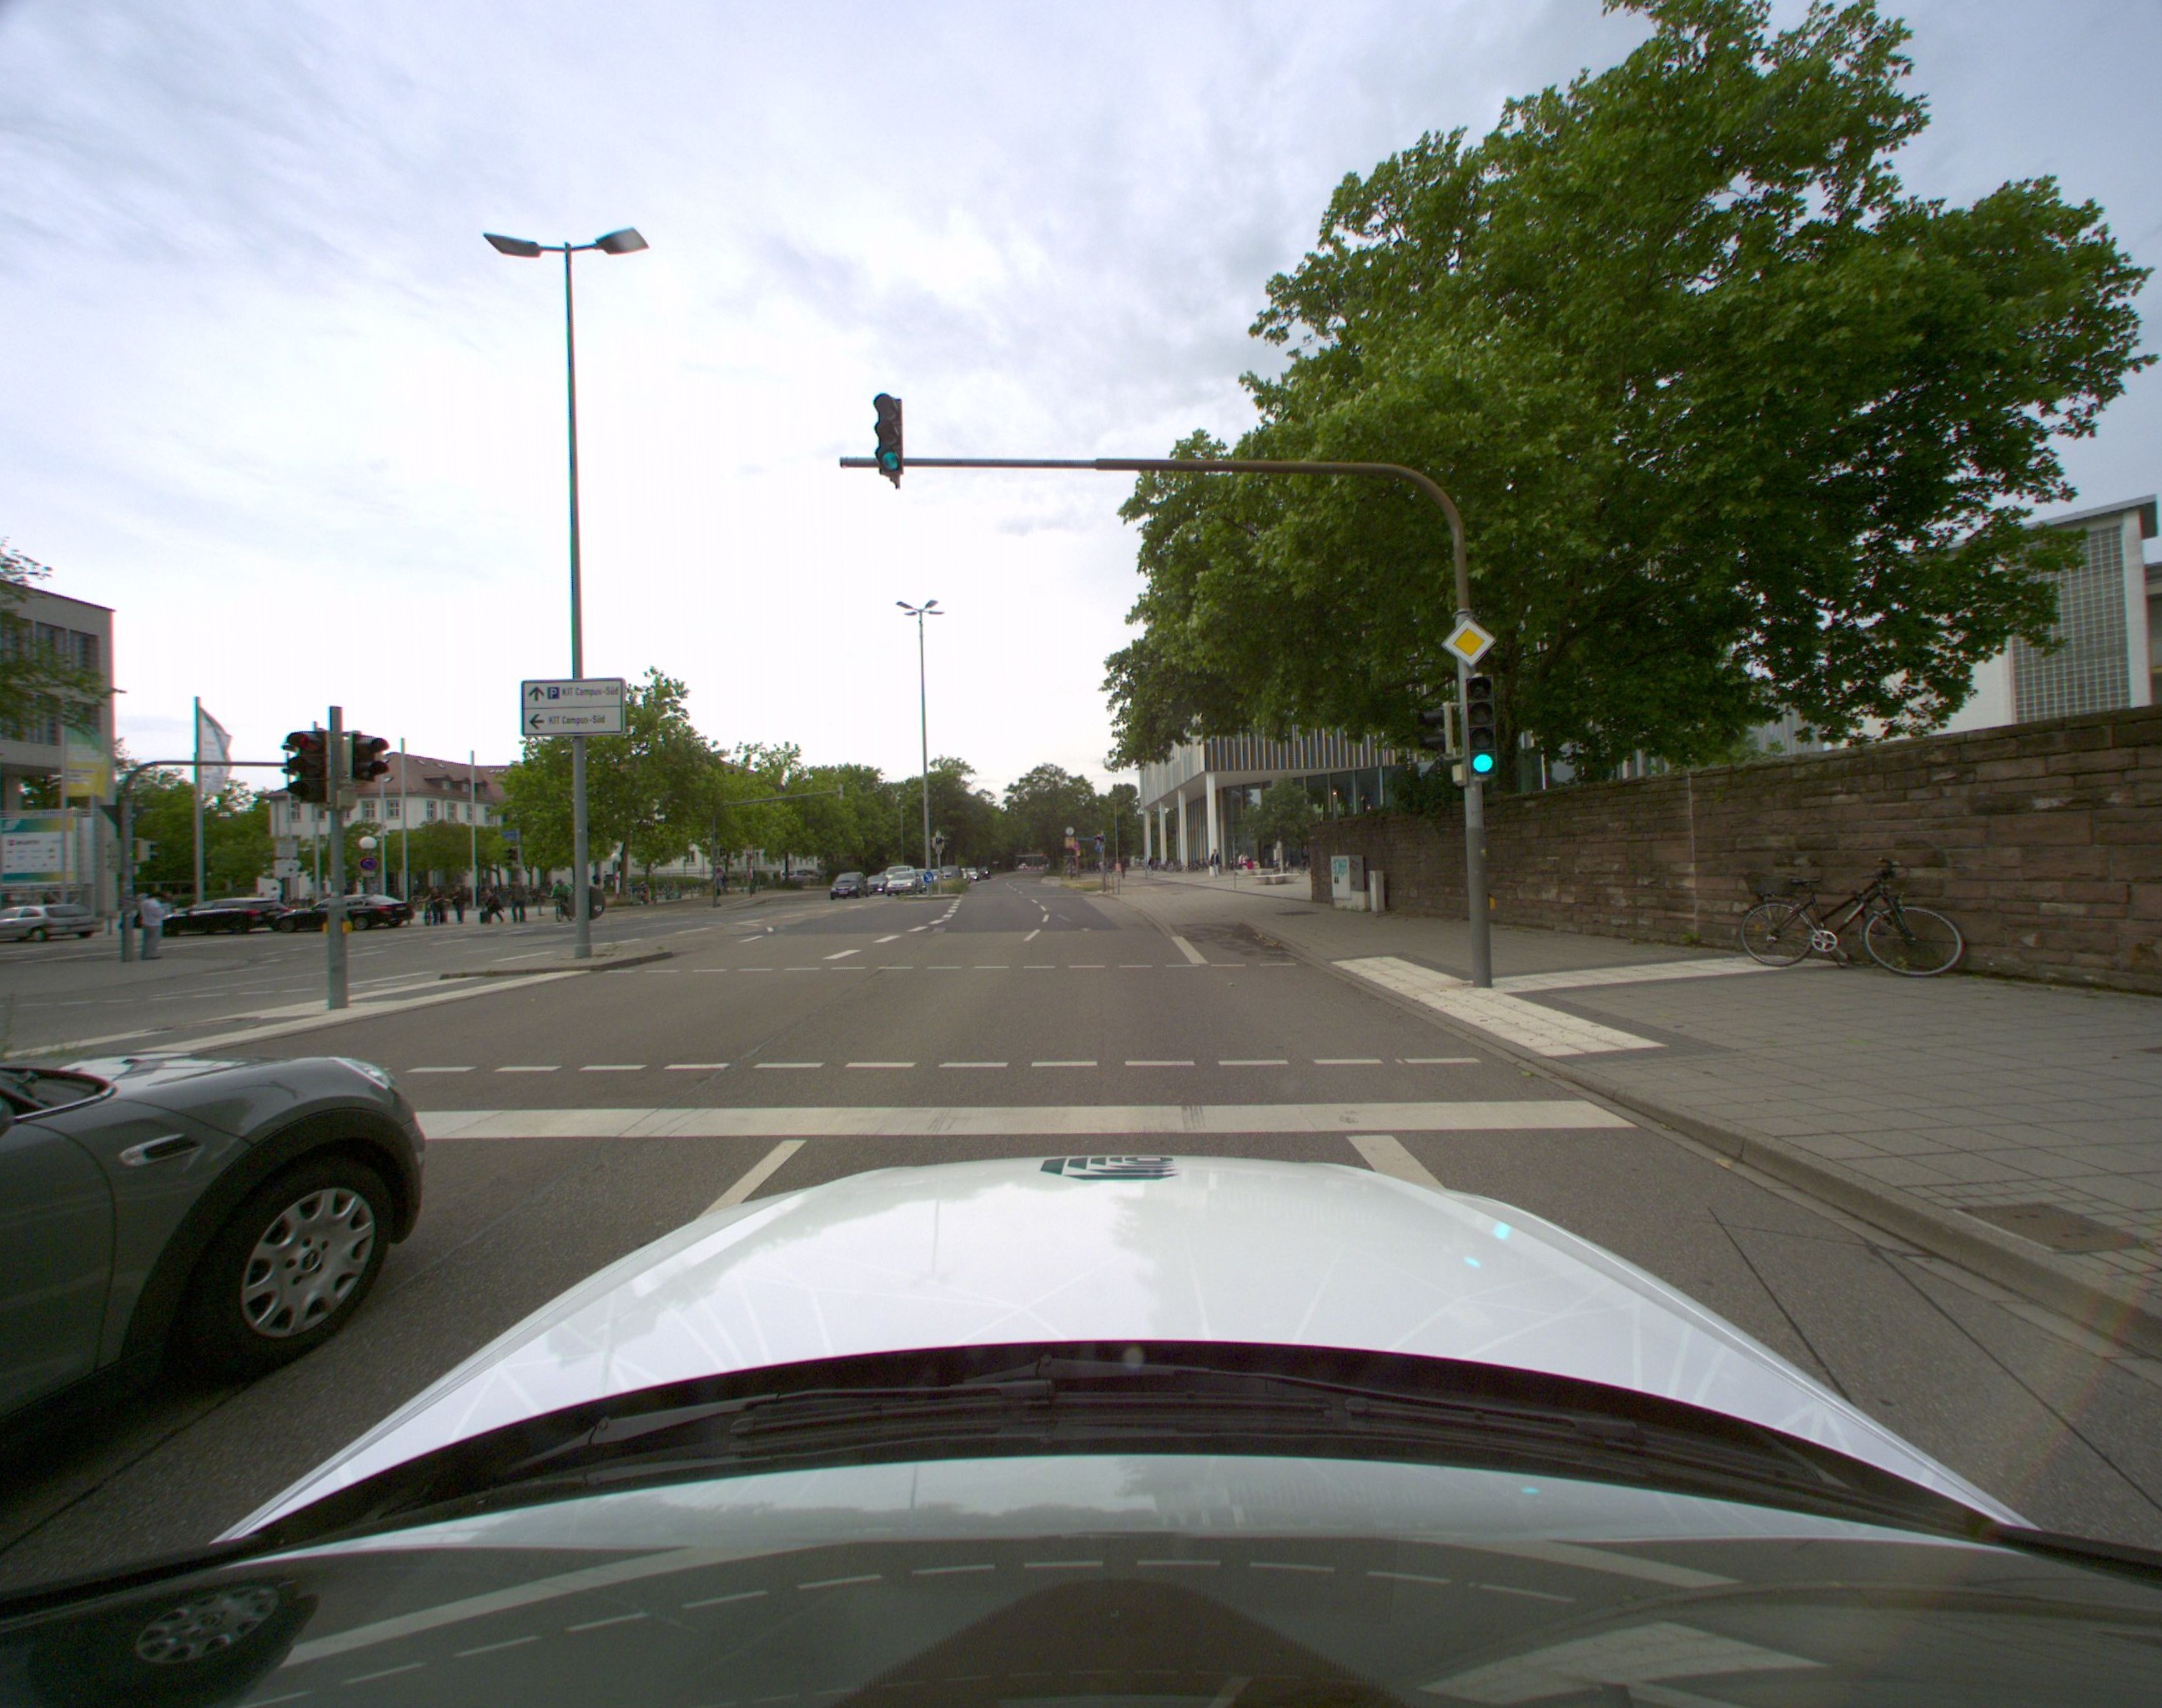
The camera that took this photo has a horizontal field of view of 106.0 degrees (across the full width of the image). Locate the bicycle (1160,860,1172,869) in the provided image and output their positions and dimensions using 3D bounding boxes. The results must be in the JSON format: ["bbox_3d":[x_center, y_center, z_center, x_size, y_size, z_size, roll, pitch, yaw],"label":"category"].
[{"bbox_3d":[9.372,1.176,89.990,1.280,0.875,0.556,-3,-1,-2],"label":"bicycle"}]

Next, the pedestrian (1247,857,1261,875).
[{"bbox_3d":[11.615,0.795,54.627,0.885,1.193,0.848,-2,-1,12],"label":"pedestrian"}]

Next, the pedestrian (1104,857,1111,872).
[{"bbox_3d":[3.762,1.522,114.636,0.822,2.014,0.719,-3,-1,-3],"label":"pedestrian"}]

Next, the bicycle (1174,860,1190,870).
[{"bbox_3d":[10.183,1.108,82.160,1.597,0.936,0.570,-5,0,8],"label":"bicycle"}]

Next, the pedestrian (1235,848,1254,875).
[{"bbox_3d":[11.713,0.534,58.336,0.848,1.836,0.885,-2,-1,-32],"label":"pedestrian"}]

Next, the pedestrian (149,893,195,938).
[{"bbox_3d":[-43.013,2.880,38.547,1.000,2.014,1.016,-2,-1,-3],"label":"pedestrian"}]

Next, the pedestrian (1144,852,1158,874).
[{"bbox_3d":[6.499,0.846,76.042,0.883,2.014,0.850,-3,-1,43],"label":"pedestrian"}]

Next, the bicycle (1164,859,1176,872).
[{"bbox_3d":[8.650,1.124,79.415,0.635,1.140,2.196,-5,-1,-6],"label":"bicycle"}]

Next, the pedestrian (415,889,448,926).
[{"bbox_3d":[-27.481,2.249,34.451,0.825,1.513,0.968,0,-1,-22],"label":"pedestrian"}]

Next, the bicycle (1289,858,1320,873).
[{"bbox_3d":[15.554,0.800,56.610,2.200,1.006,0.774,-2,-1,-32],"label":"bicycle"}]

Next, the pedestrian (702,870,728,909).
[{"bbox_3d":[-19.589,1.862,43.574,0.892,2.014,1.008,-2,-1,-4],"label":"pedestrian"}]

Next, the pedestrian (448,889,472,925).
[{"bbox_3d":[-26.427,2.245,34.667,0.702,1.428,0.991,0,-1,-30],"label":"pedestrian"}]

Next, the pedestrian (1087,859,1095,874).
[{"bbox_3d":[1.421,1.798,114.021,0.924,2.014,1.037,-2,-1,-7],"label":"pedestrian"}]

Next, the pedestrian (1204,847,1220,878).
[{"bbox_3d":[8.848,0.592,54.967,0.840,2.014,0.894,-2,-1,-1],"label":"pedestrian"}]

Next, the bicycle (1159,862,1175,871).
[{"bbox_3d":[9.177,1.370,87.079,1.602,0.875,0.556,-3,-1,-2],"label":"bicycle"}]

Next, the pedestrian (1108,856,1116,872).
[{"bbox_3d":[4.023,1.308,105.428,0.924,2.014,1.038,-2,-1,-4],"label":"pedestrian"}]

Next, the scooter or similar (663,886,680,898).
[{"bbox_3d":[-25.517,2.393,50.784,0.405,0.693,1.289,0,-1,1],"label":"scooter or similar"}]

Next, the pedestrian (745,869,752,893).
[{"bbox_3d":[-24.278,2.000,59.500,0.419,1.739,0.433,0,-1,-9],"label":"pedestrian"}]

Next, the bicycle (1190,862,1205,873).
[{"bbox_3d":[10.676,1.230,74.752,1.496,0.929,0.435,-3,1,-41],"label":"bicycle"}]

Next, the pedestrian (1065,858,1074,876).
[{"bbox_3d":[-1.311,1.507,94.957,0.910,2.013,0.853,-4,1,-3],"label":"pedestrian"}]

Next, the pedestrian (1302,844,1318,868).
[{"bbox_3d":[19.584,0.156,69.681,1.171,2.062,1.141,-1,-1,22],"label":"pedestrian"}]

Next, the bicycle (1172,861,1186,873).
[{"bbox_3d":[9.235,1.193,76.685,0.608,1.080,1.953,-4,0,-13],"label":"bicycle"}]

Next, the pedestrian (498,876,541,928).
[{"bbox_3d":[-22.769,1.923,33.037,1.185,2.014,1.133,0,-1,-22],"label":"pedestrian"}]

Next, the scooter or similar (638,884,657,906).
[{"bbox_3d":[-23.847,2.266,44.835,0.359,1.140,1.318,-3,-1,-2],"label":"scooter or similar"}]

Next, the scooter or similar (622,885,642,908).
[{"bbox_3d":[-23.820,2.250,43.215,0.359,1.140,1.318,-3,-1,-2],"label":"scooter or similar"}]

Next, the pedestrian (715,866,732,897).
[{"bbox_3d":[-23.700,1.827,53.936,0.801,2.014,0.923,0,-1,-9],"label":"pedestrian"}]

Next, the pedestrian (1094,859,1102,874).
[{"bbox_3d":[2.373,1.751,114.000,0.823,2.014,0.718,-2,-1,-7],"label":"pedestrian"}]

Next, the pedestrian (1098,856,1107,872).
[{"bbox_3d":[2.806,1.349,105.326,0.924,2.014,1.037,-2,-1,-7],"label":"pedestrian"}]

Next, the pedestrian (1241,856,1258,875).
[{"bbox_3d":[11.185,0.732,54.011,0.834,1.206,0.900,-3,-1,32],"label":"pedestrian"}]

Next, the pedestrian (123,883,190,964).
[{"bbox_3d":[-25.108,1.867,22.133,0.664,2.058,0.852,-3,1,-2],"label":"pedestrian"}]

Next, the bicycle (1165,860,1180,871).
[{"bbox_3d":[9.333,1.177,83.035,1.396,1.043,0.558,-4,-1,-2],"label":"bicycle"}]

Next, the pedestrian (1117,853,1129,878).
[{"bbox_3d":[3.513,0.987,67.847,0.840,2.013,0.894,-4,-1,-1],"label":"pedestrian"}]
